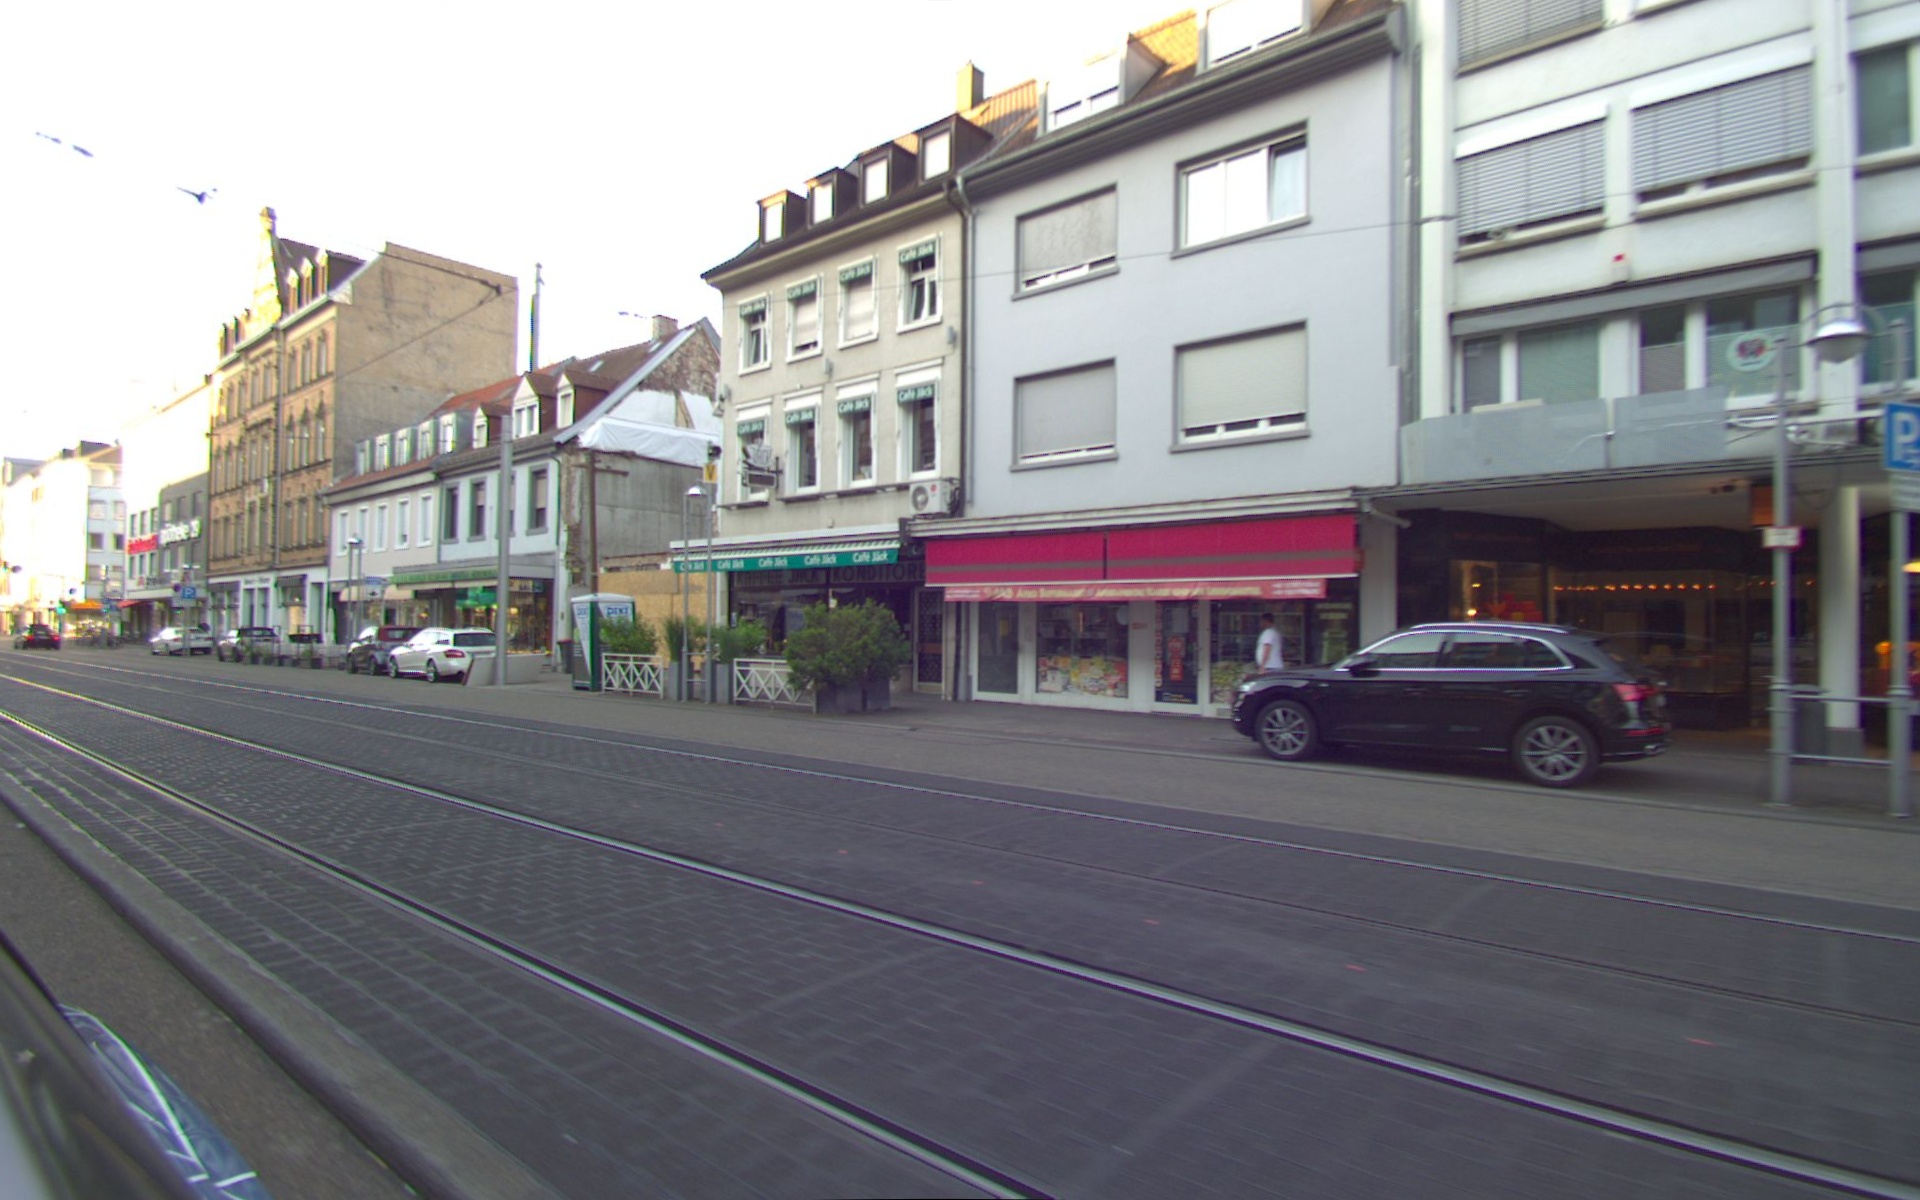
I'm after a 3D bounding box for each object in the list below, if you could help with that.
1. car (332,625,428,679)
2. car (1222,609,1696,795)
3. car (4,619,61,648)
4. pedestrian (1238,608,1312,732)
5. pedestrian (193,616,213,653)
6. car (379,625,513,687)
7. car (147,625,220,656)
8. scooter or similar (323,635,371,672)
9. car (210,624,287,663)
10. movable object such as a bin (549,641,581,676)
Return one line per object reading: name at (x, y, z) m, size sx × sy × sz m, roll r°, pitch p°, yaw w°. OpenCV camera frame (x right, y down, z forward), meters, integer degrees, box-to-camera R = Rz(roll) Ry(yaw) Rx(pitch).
car at (-18.591, 1.619, 32.399) m, size 3.469 × 1.582 × 1.638 m, roll -1°, pitch 0°, yaw 41°
car at (5.602, 0.978, 11.727) m, size 4.586 × 1.710 × 1.973 m, roll -1°, pitch 0°, yaw 41°
car at (-54.451, 1.953, 59.390) m, size 3.997 × 1.574 × 1.973 m, roll -1°, pitch 0°, yaw 40°
pedestrian at (4.781, 1.031, 15.358) m, size 0.818 × 1.795 × 0.809 m, roll -1°, pitch 0°, yaw 41°
pedestrian at (-42.138, 1.897, 56.355) m, size 0.738 × 2.029 × 1.049 m, roll 0°, pitch 0°, yaw -45°
car at (-14.852, 1.540, 29.136) m, size 4.620 × 1.568 × 1.871 m, roll -1°, pitch 0°, yaw 41°
car at (-39.077, 2.008, 50.894) m, size 4.399 × 1.431 × 1.974 m, roll -1°, pitch 0°, yaw 39°
scooter or similar at (-20.823, 1.818, 34.397) m, size 0.311 × 1.177 × 1.347 m, roll -1°, pitch 0°, yaw 43°
car at (-30.151, 1.787, 42.871) m, size 3.814 × 1.504 × 1.822 m, roll -1°, pitch 0°, yaw 41°
movable object such as a bin at (-12.175, 1.781, 31.190) m, size 0.657 × 1.053 × 0.674 m, roll -2°, pitch -3°, yaw 45°
